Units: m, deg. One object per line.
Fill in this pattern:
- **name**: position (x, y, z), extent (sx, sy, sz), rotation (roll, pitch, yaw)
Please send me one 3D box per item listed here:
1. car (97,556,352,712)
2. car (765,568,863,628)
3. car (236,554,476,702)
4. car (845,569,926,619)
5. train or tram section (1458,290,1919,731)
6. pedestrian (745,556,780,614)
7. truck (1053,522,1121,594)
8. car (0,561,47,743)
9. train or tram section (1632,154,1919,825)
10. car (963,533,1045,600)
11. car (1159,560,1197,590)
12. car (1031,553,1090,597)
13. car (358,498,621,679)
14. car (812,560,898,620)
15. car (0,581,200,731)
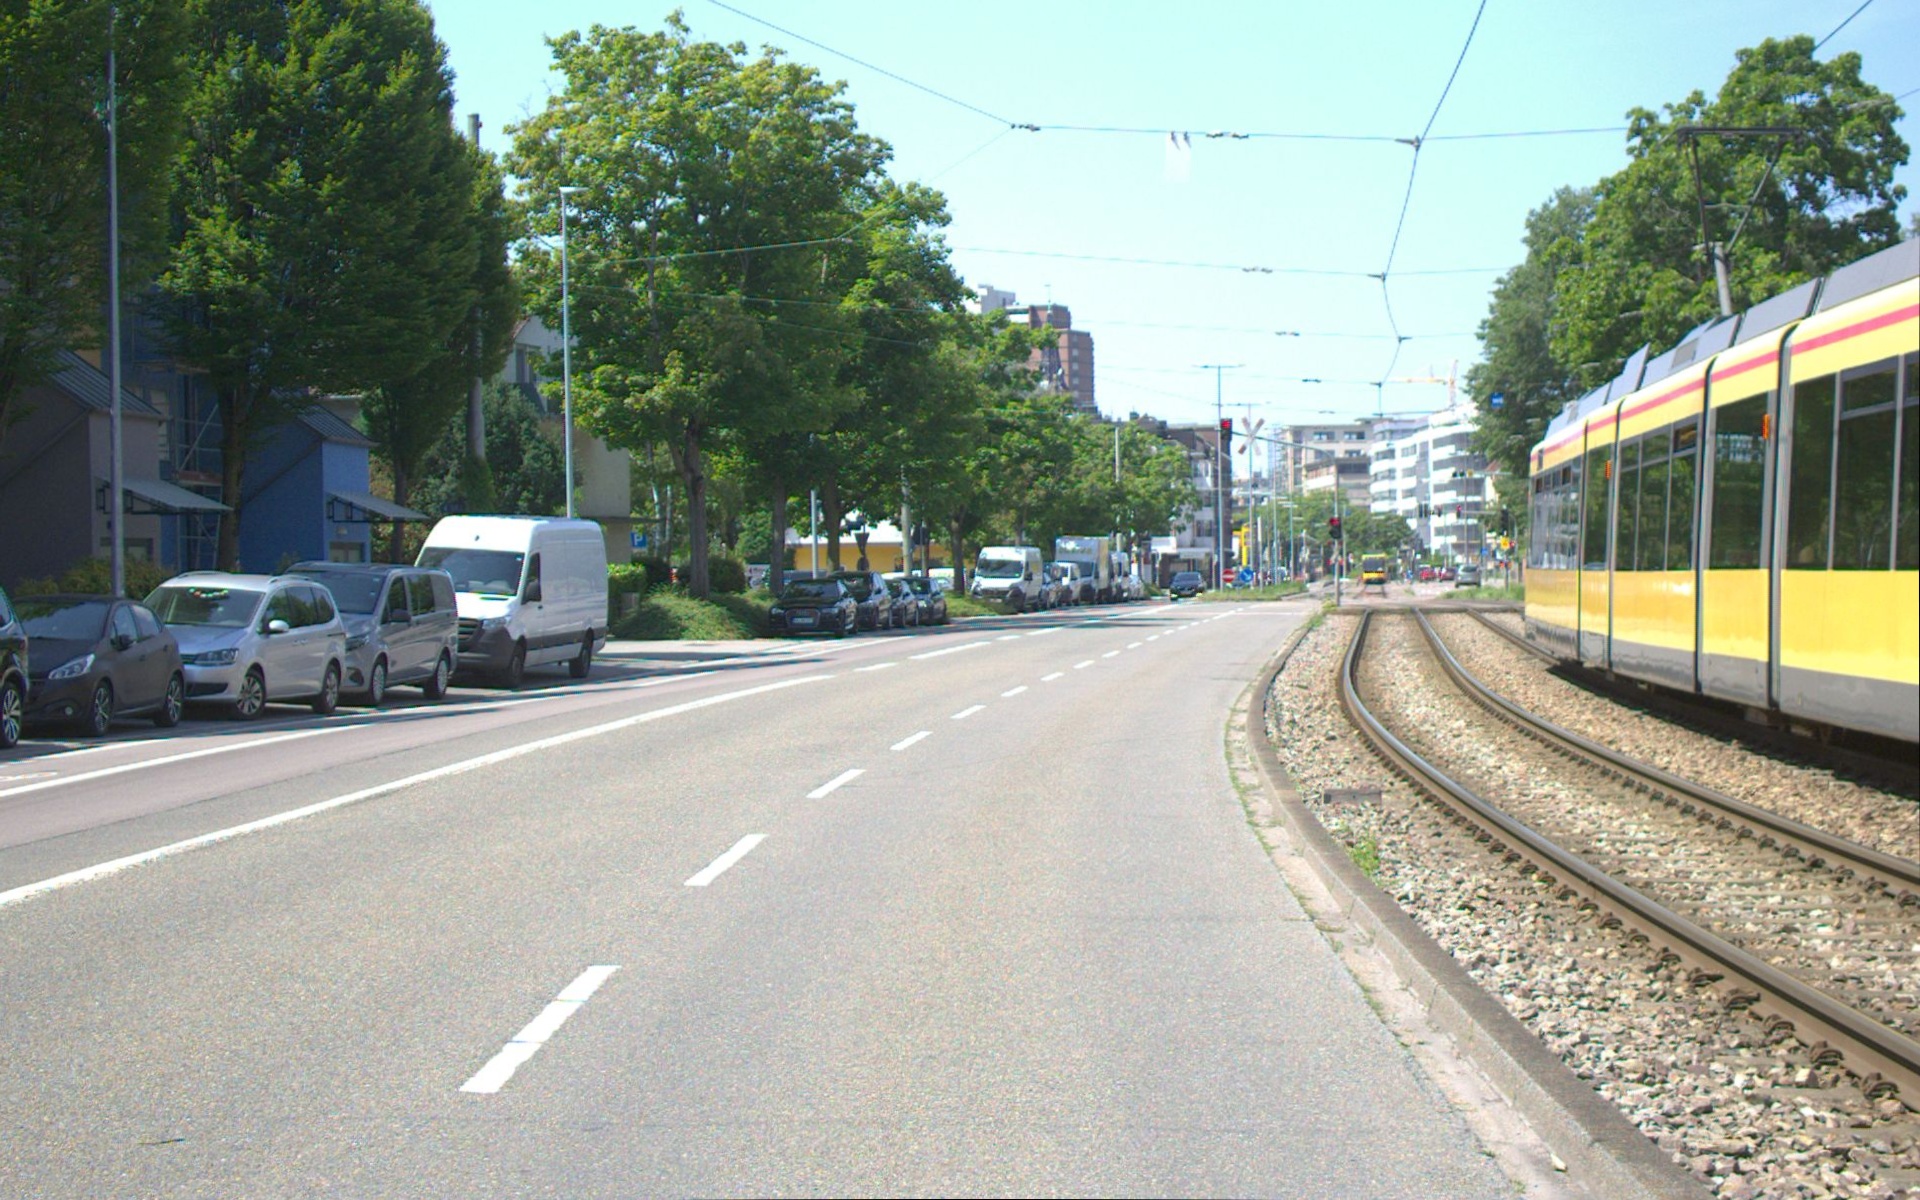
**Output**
- **car**: position (-8.899, 0.359, 42.019), extent (1.717, 1.746, 4.903), rotation (-1, 1, 4)
- **car**: position (-3.639, -0.076, 86.413), extent (1.775, 1.451, 4.803), rotation (0, 1, 6)
- **car**: position (-8.286, 0.333, 47.683), extent (1.807, 1.889, 5.361), rotation (-1, 1, 6)
- **car**: position (-2.123, -0.199, 99.384), extent (1.775, 1.368, 4.696), rotation (1, 1, 6)
- **train or tram section**: position (7.854, -0.889, 38.904), extent (2.944, 3.679, 20.281), rotation (0, 1, 4)
- **pedestrian**: position (-6.258, -0.493, 109.054), extent (0.974, 1.817, 0.794), rotation (-1, 0, 5)
- **truck**: position (6.012, -1.970, 161.591), extent (2.158, 3.199, 7.079), rotation (2, 1, 10)
- **car**: position (-10.028, 0.525, 31.377), extent (1.751, 1.710, 4.887), rotation (-1, 1, 4)
- **train or tram section**: position (6.766, -0.617, 19.679), extent (2.944, 3.679, 18.388), rotation (0, 1, 2)
- **car**: position (1.747, -1.322, 133.739), extent (2.158, 2.478, 6.190), rotation (2, 1, 10)
- **car**: position (11.205, -1.275, 176.757), extent (1.775, 1.455, 4.194), rotation (-2, 0, 6)
- **car**: position (4.493, -1.110, 152.940), extent (2.061, 1.891, 4.869), rotation (-1, 0, 8)
- **car**: position (-7.548, -0.232, 56.091), extent (2.324, 2.642, 7.033), rotation (3, 1, 8)
- **car**: position (-2.858, -0.293, 94.302), extent (1.775, 1.598, 4.636), rotation (0, 1, 6)
- **car**: position (-9.583, 0.564, 37.062), extent (1.598, 1.466, 4.087), rotation (-1, 1, 4)
